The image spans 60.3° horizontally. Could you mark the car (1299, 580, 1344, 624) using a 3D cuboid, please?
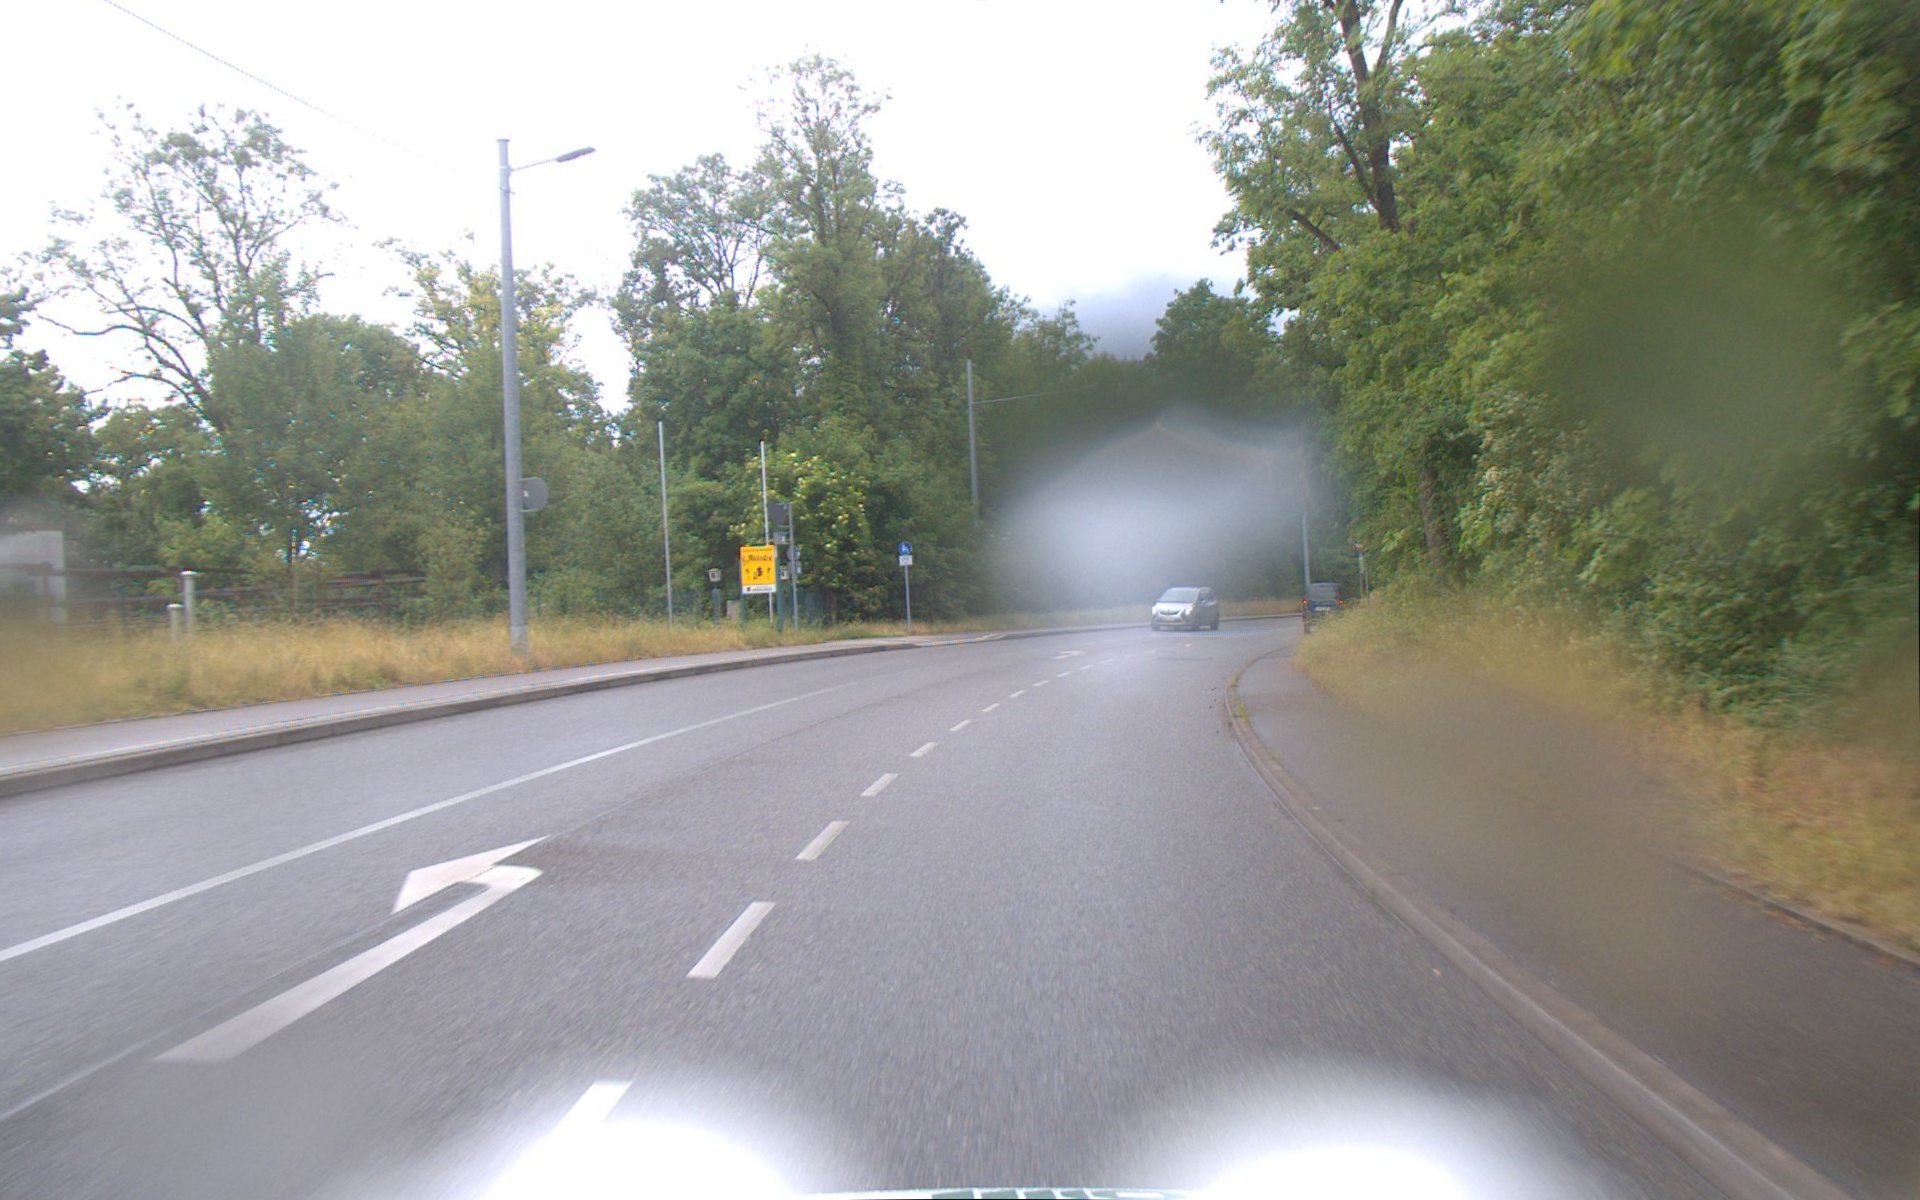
[{"bbox_3d":[13.983,0.067,63.977,1.632,1.621,3.686,0,0,13],"label":"car"}]

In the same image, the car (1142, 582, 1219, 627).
[{"bbox_3d":[8.533,0.155,63.628,1.724,1.643,4.416,1,0,24],"label":"car"}]
